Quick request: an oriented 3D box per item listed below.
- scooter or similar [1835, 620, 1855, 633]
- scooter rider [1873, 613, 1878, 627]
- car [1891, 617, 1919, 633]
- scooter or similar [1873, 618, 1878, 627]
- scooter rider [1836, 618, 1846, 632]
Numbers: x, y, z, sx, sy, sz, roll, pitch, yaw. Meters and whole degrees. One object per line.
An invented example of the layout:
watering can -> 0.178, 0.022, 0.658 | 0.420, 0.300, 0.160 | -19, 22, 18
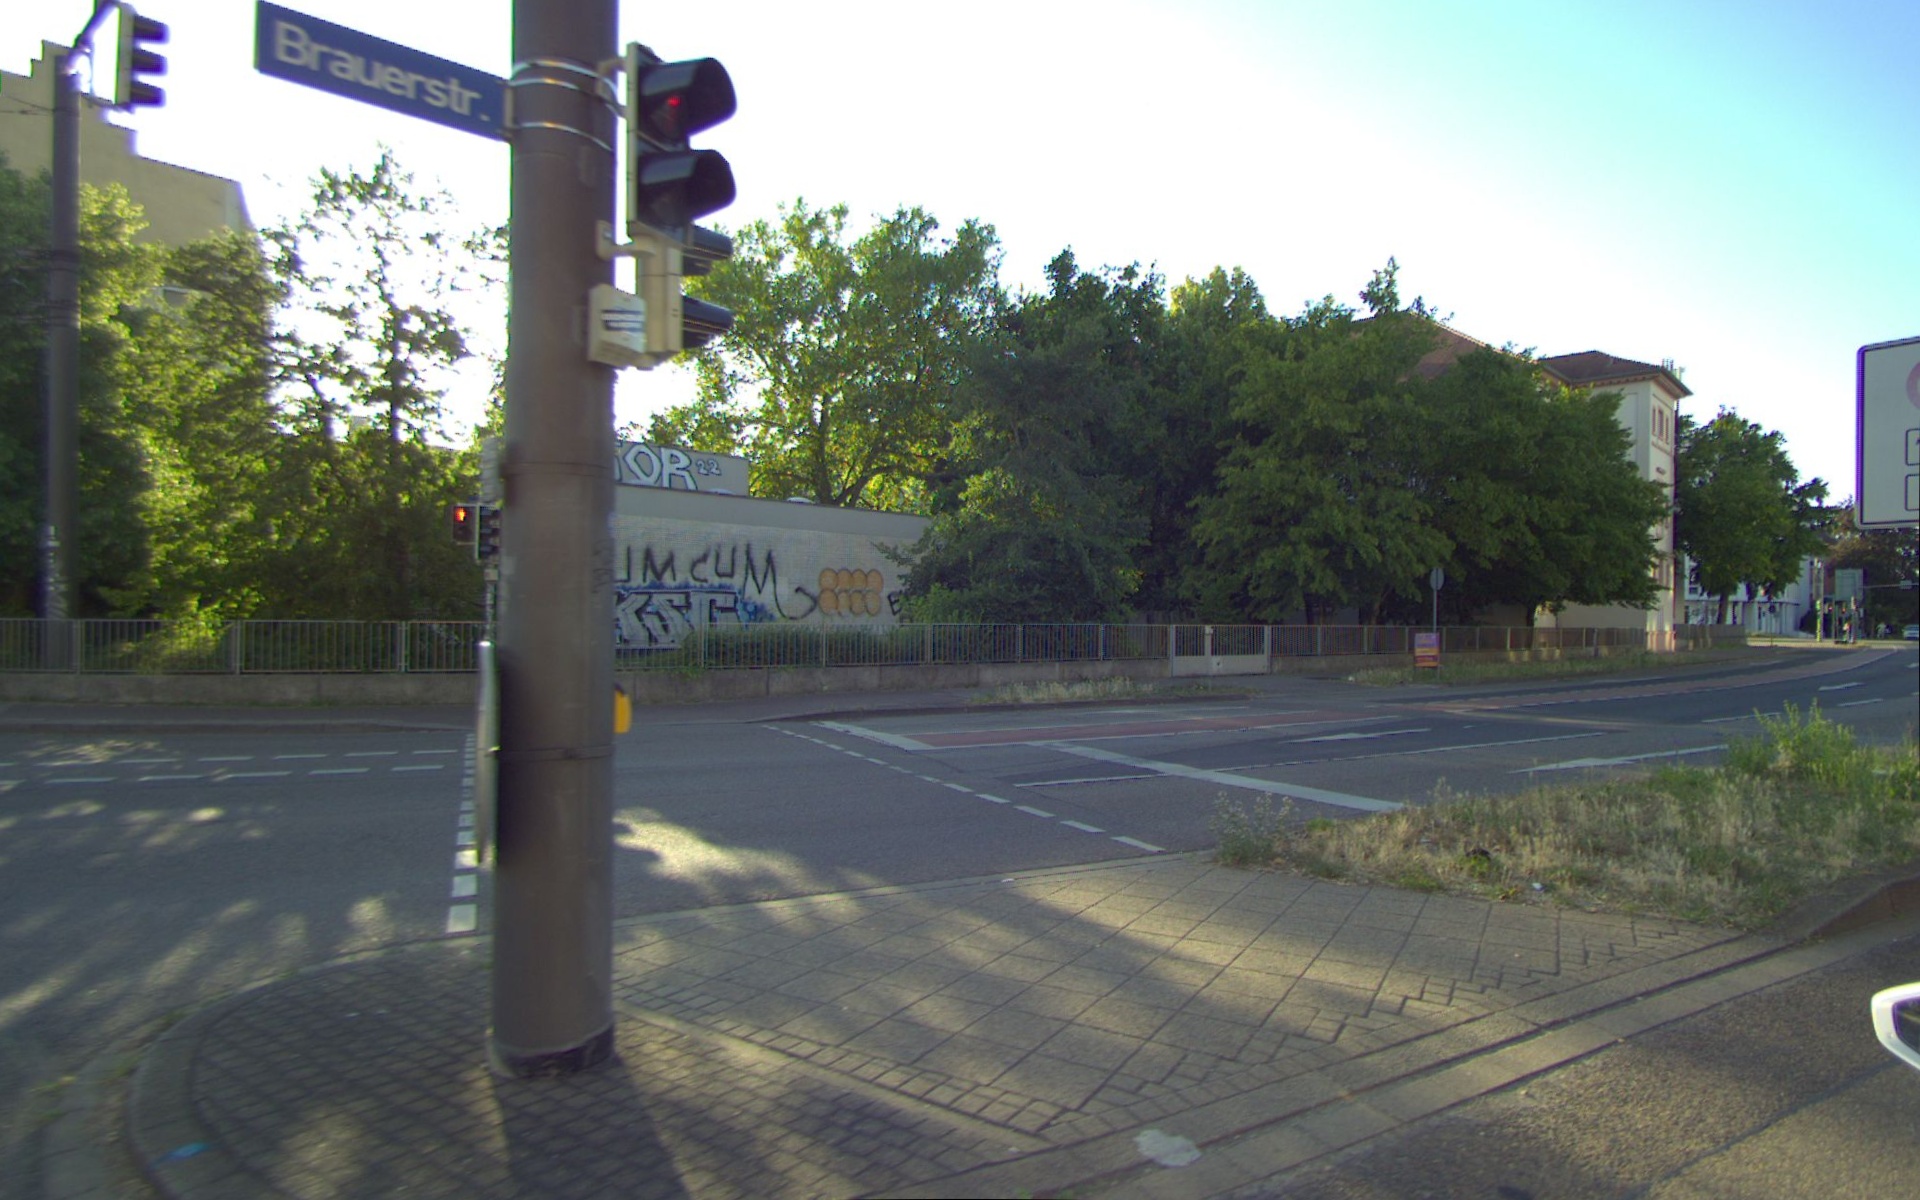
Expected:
scooter or similar -> 68.113, 2.019, 77.296 | 1.085, 0.989, 0.557 | 2, 1, 37
scooter rider -> 93.458, 2.032, 102.534 | 0.335, 1.391, 0.351 | 0, 0, -43
car -> 97.888, 2.595, 103.731 | 3.963, 1.616, 1.979 | 0, 0, -38
scooter or similar -> 93.448, 2.328, 102.522 | 0.898, 0.907, 0.354 | 1, -1, -44
scooter rider -> 67.939, 1.903, 77.436 | 0.502, 1.050, 0.445 | 2, 1, 35
